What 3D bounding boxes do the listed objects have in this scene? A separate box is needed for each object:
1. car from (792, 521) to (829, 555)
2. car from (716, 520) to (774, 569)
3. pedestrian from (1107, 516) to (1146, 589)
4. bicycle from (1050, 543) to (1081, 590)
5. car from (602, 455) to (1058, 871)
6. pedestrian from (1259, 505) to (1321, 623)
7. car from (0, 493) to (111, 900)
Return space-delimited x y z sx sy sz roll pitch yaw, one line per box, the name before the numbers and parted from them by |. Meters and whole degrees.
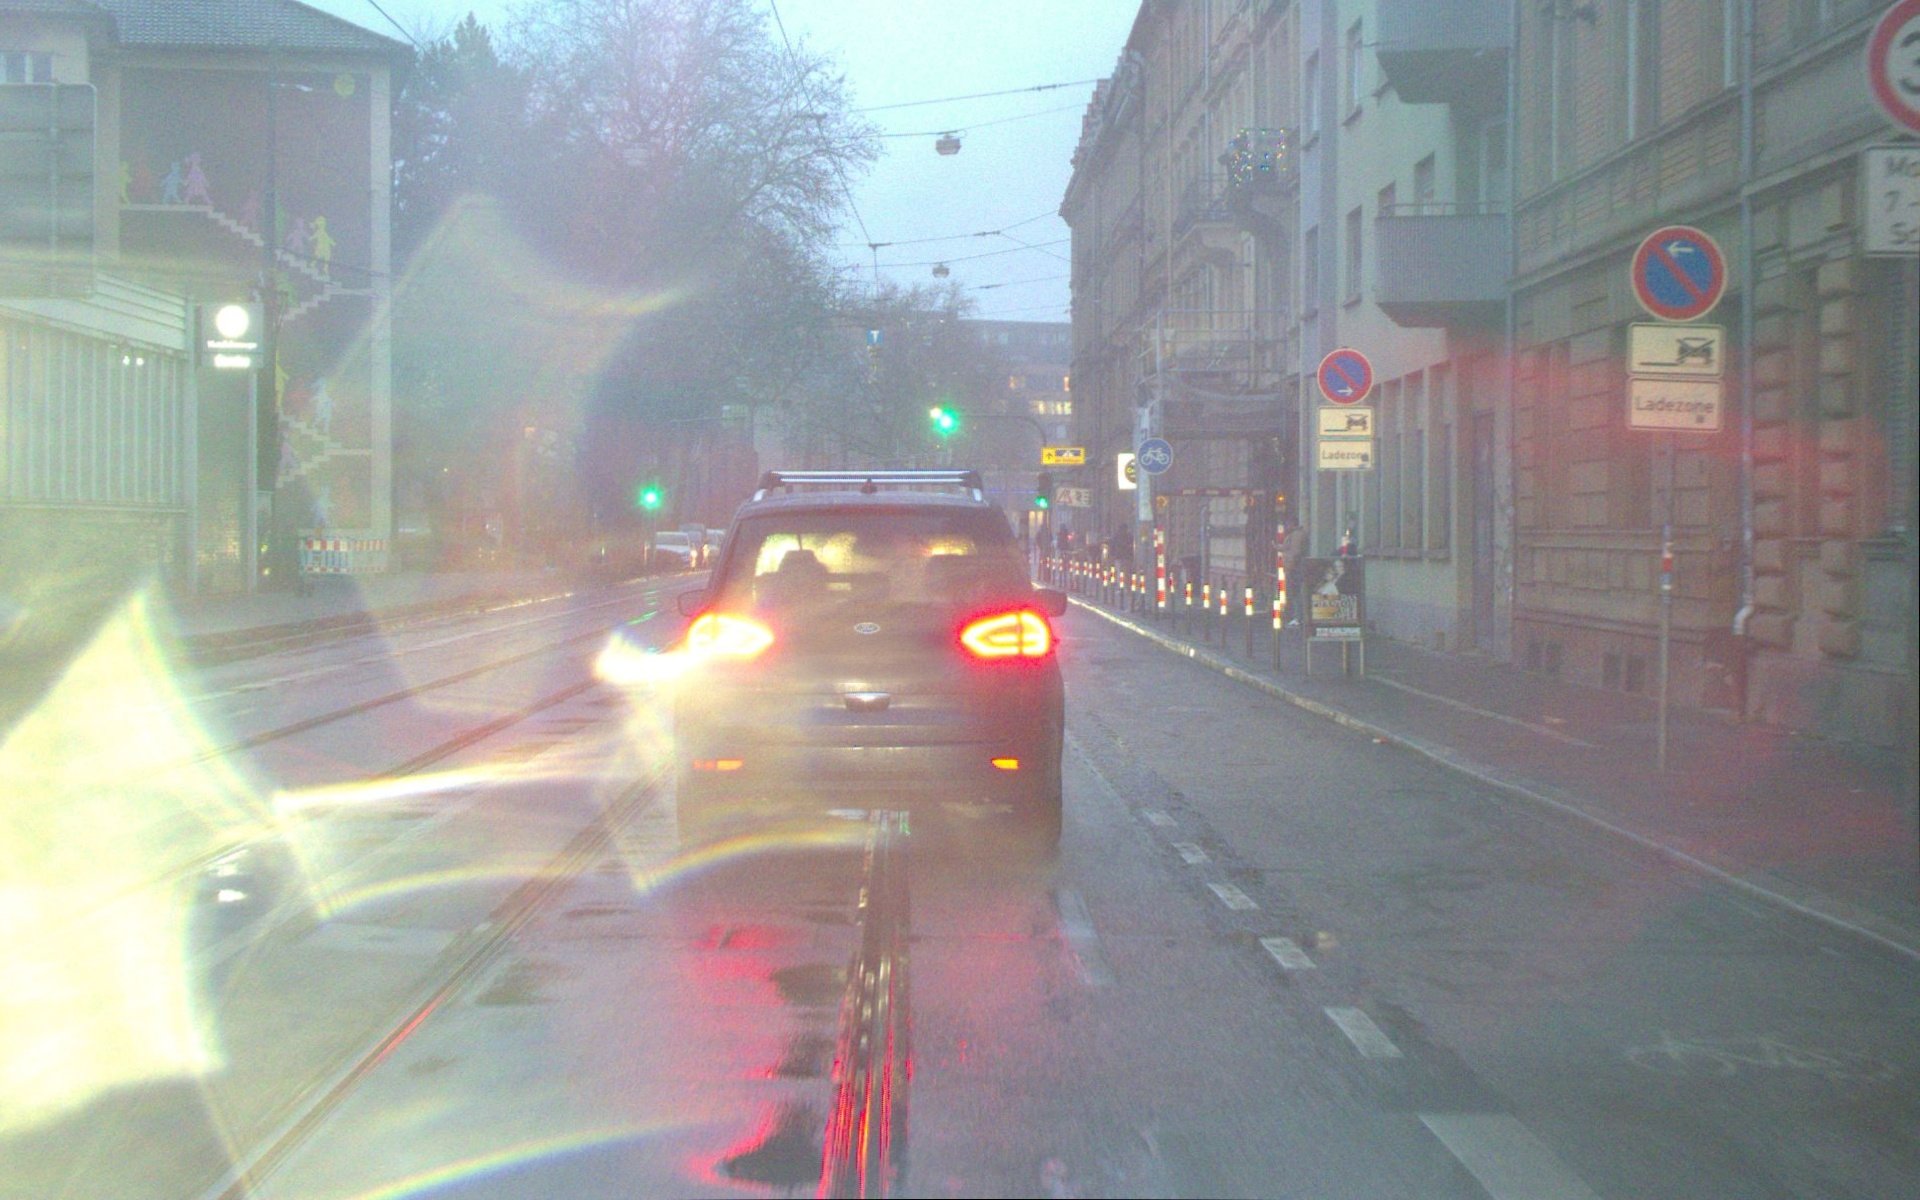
car | -6.574 -2.749 151.536 1.530 1.476 3.561 0 1 0
car | -7.696 -2.014 123.507 1.875 1.704 4.761 -1 1 -1
pedestrian | 3.941 -1.119 81.287 0.835 1.695 0.953 1 1 8
bicycle | 2.660 -0.855 86.711 0.684 1.152 2.188 1 1 -1
car | -0.524 0.242 17.300 1.993 1.835 4.000 0 1 2
pedestrian | 5.117 -0.560 53.340 0.598 1.812 0.776 1 1 -28
car | -4.637 0.386 12.695 1.841 1.573 4.442 0 1 1
